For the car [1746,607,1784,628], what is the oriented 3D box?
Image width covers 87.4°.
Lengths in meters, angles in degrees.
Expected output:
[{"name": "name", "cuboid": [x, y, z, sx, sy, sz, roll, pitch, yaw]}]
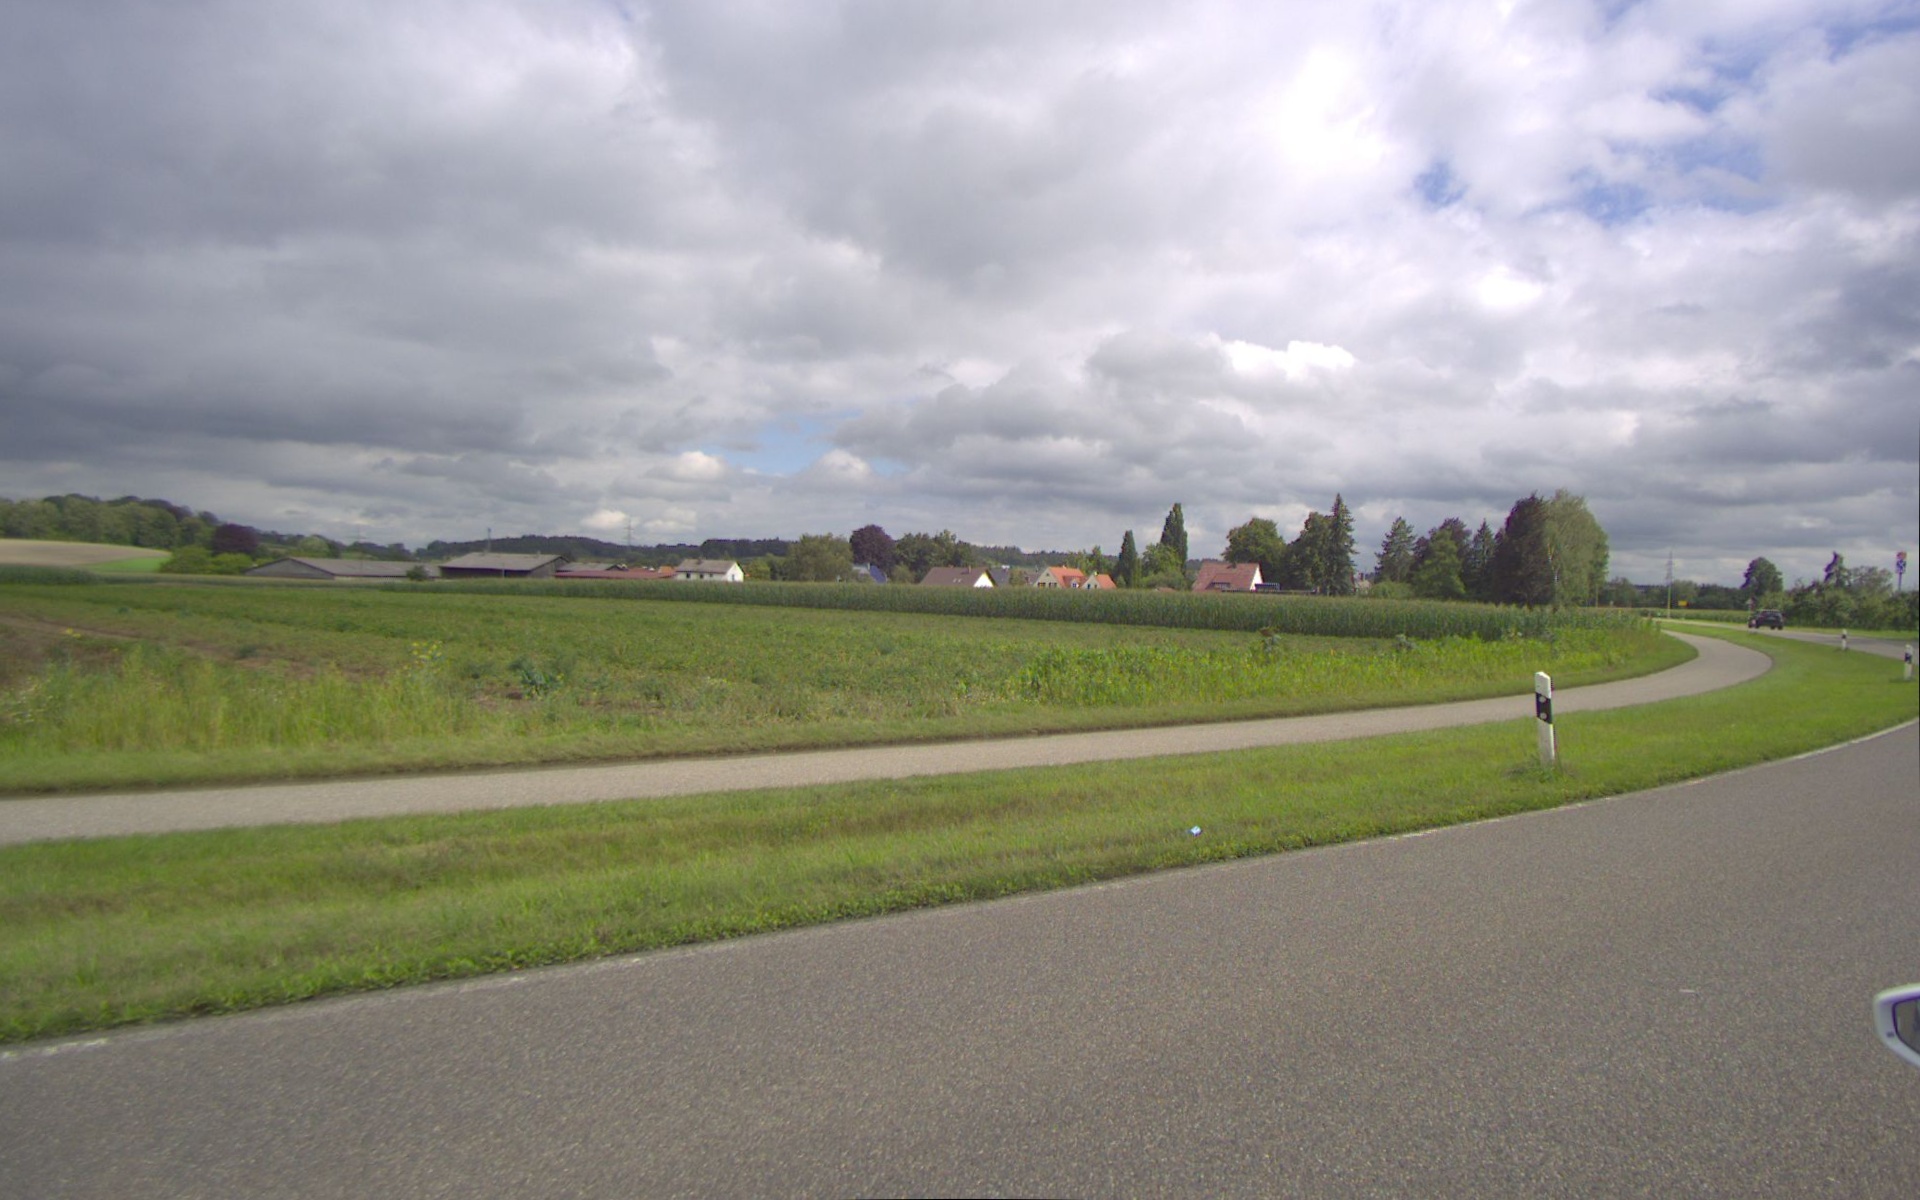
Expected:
[{"name": "car", "cuboid": [70.250, 1.486, 87.711, 1.878, 1.689, 3.993, 3, 2, 29]}]
